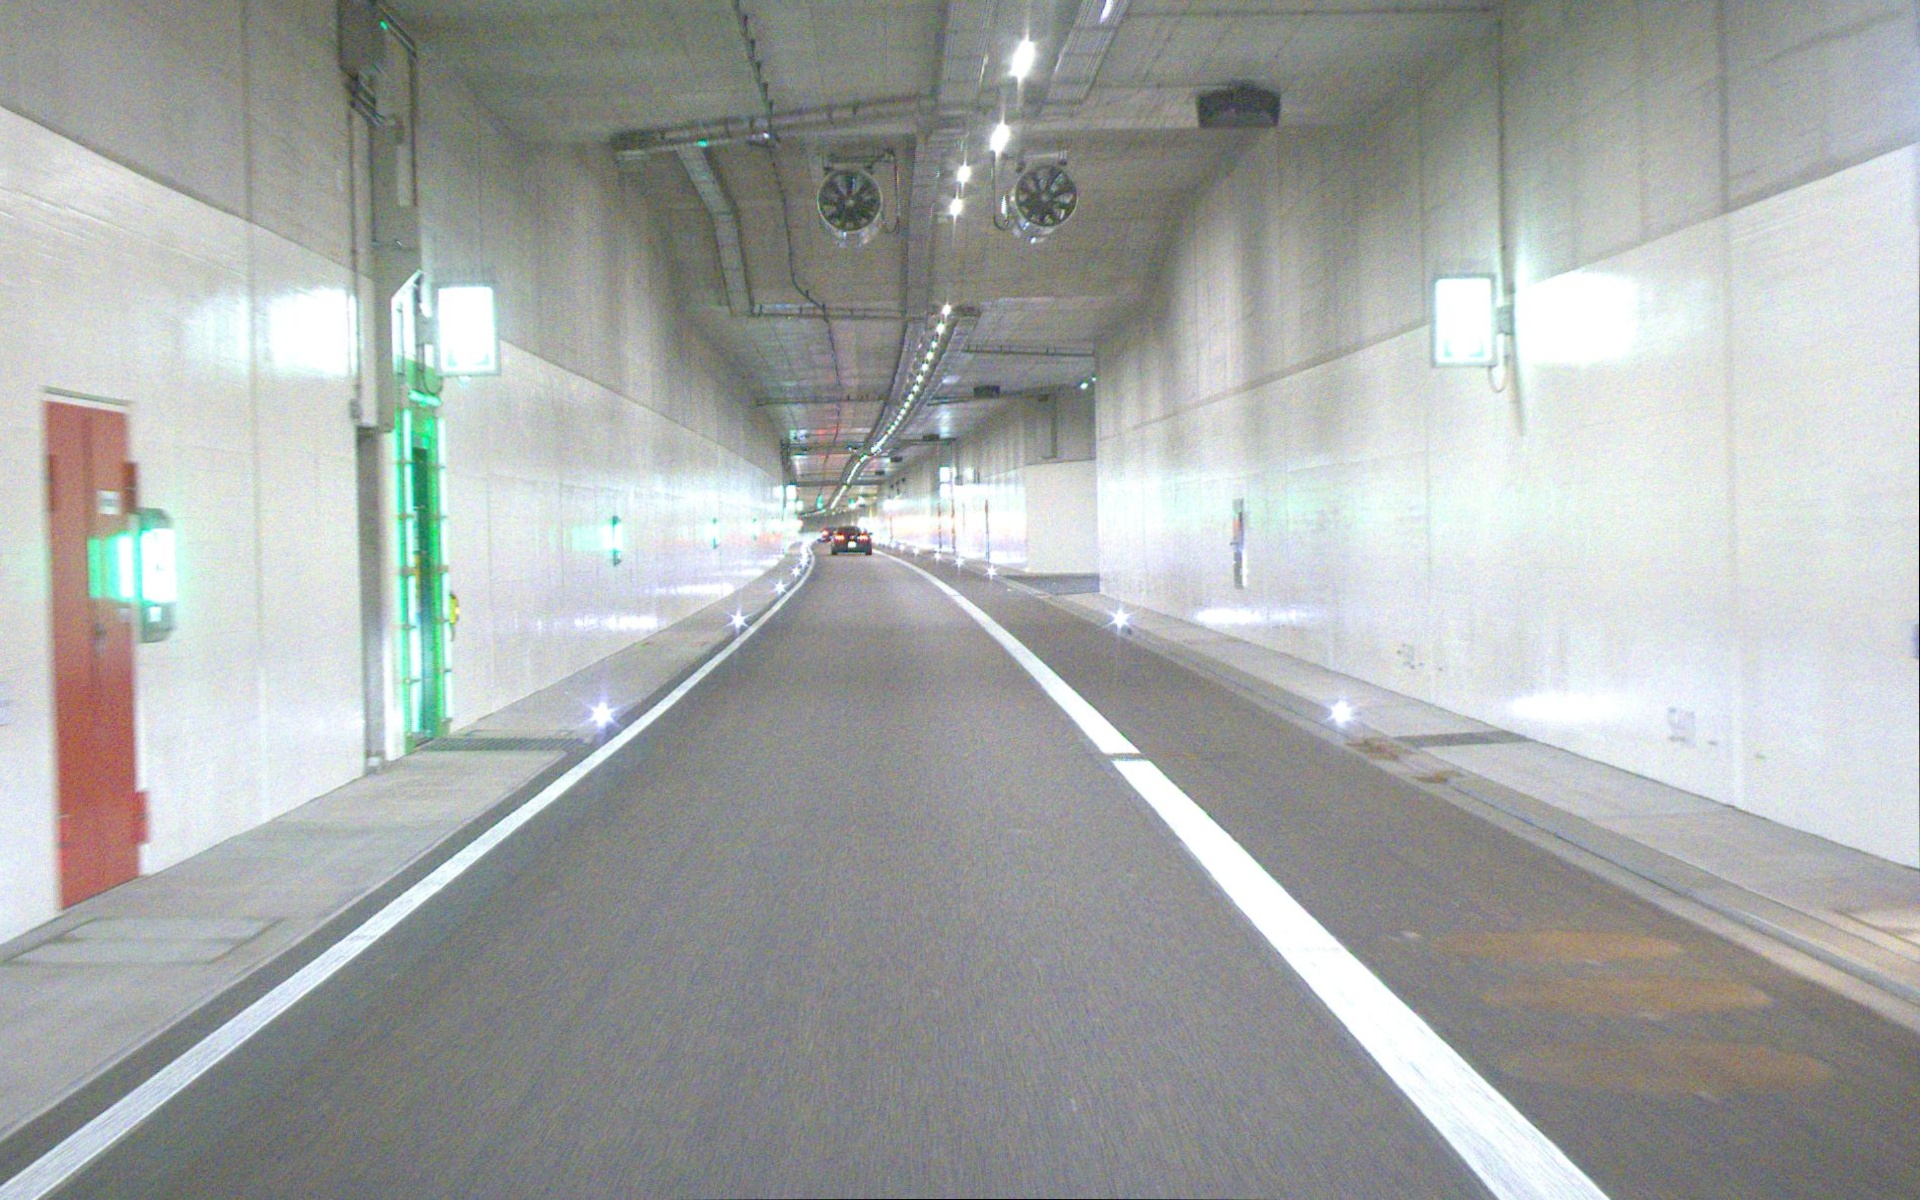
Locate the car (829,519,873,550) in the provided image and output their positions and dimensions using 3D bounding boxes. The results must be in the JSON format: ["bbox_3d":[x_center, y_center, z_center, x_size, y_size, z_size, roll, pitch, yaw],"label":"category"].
[{"bbox_3d":[-5.092,-3.049,160.599,1.993,1.415,4.001,0,1,-3],"label":"car"}]
